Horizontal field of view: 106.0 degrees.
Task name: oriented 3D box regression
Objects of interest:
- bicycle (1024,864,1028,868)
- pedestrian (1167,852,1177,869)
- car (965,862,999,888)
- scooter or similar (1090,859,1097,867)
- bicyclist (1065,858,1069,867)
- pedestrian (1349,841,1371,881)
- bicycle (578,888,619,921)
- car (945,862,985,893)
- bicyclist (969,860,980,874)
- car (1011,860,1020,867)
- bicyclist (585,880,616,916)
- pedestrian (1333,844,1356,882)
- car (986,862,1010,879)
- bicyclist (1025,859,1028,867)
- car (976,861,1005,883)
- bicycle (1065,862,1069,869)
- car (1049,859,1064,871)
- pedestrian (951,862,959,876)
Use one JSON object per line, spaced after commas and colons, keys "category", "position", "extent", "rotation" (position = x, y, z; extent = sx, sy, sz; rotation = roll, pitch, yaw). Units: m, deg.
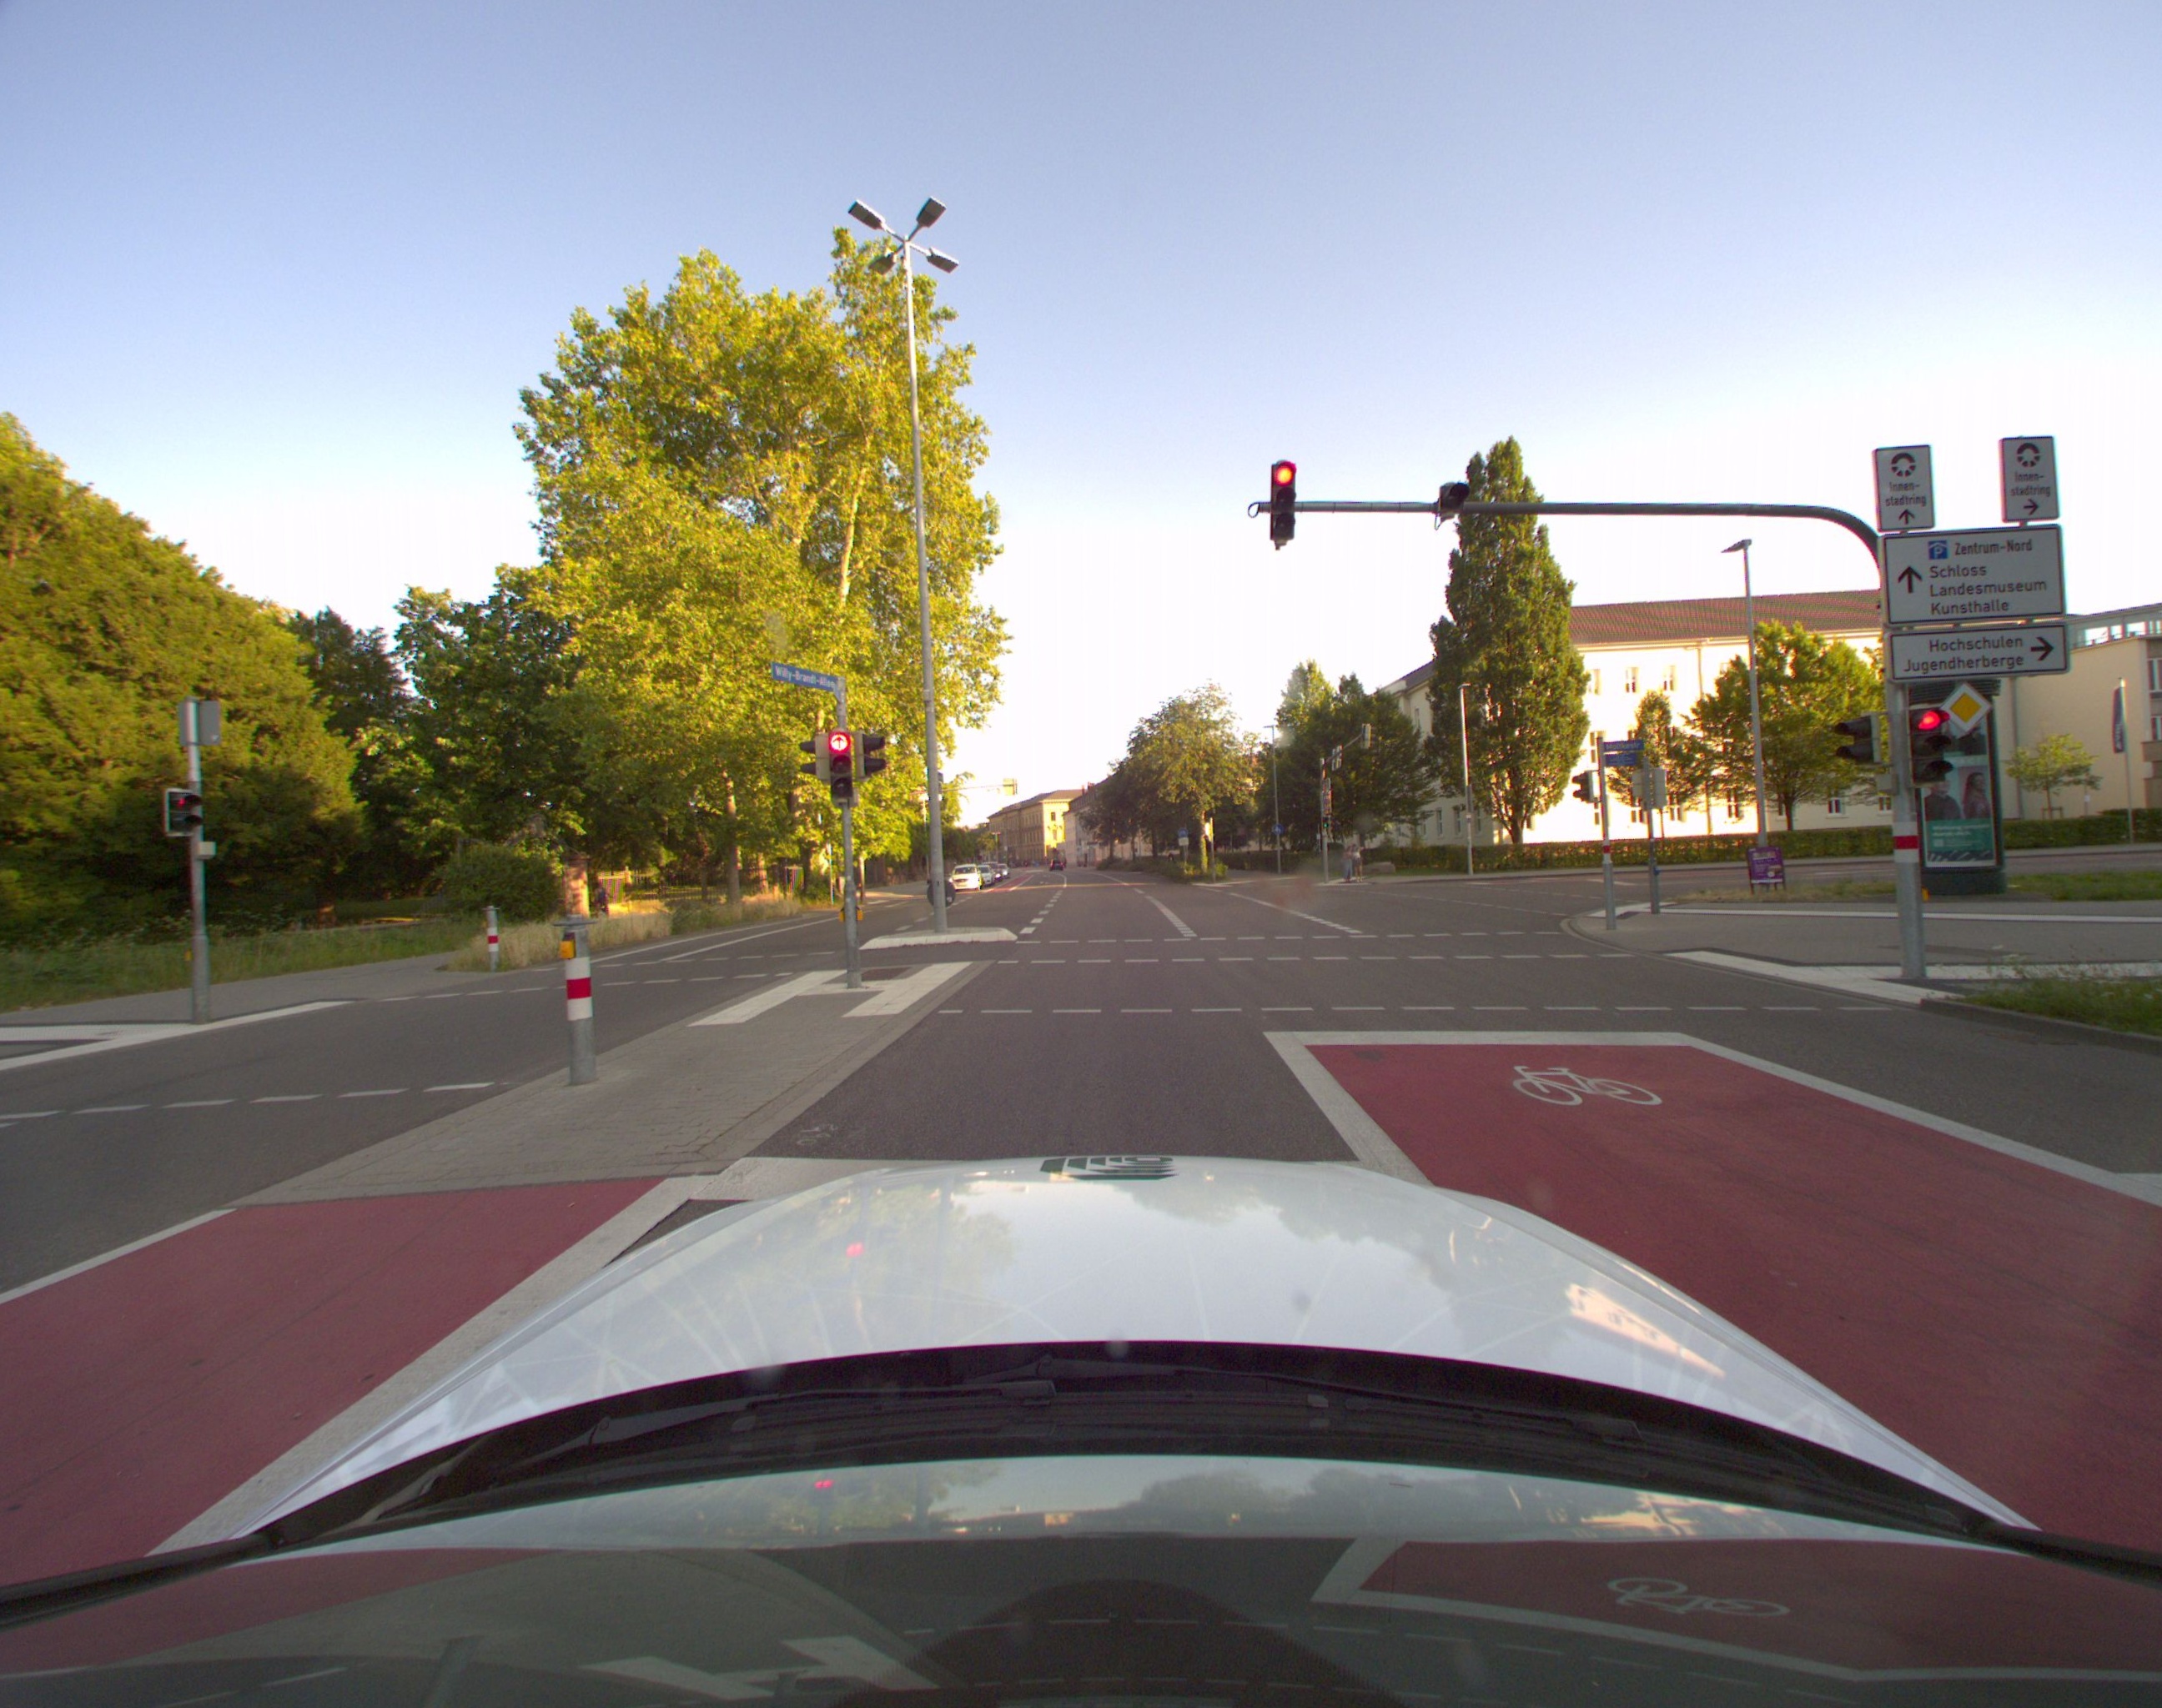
{"category": "bicycle", "position": [-13.081, 2.791, 193.889], "extent": [0.651, 1.015, 2.191], "rotation": [0, -1, -8]}
{"category": "pedestrian", "position": [9.343, 0.635, 83.927], "extent": [0.769, 1.739, 0.805], "rotation": [-3, 0, -8]}
{"category": "car", "position": [-6.988, 1.471, 57.973], "extent": [1.912, 1.583, 4.670], "rotation": [-5, 0, -2]}
{"category": "scooter or similar", "position": [2.260, 1.648, 145.505], "extent": [0.630, 1.337, 2.390], "rotation": [-2, -1, -12]}
{"category": "bicyclist", "position": [-2.318, 1.462, 133.185], "extent": [0.650, 1.475, 0.940], "rotation": [0, -1, 0]}
{"category": "pedestrian", "position": [12.587, 0.330, 36.722], "extent": [0.678, 1.754, 0.689], "rotation": [-3, 0, 1]}
{"category": "bicycle", "position": [-19.900, 2.084, 33.580], "extent": [1.954, 1.256, 0.797], "rotation": [-3, -1, 39]}
{"category": "car", "position": [-7.162, 1.431, 50.606], "extent": [1.912, 1.695, 4.422], "rotation": [-5, 0, -2]}
{"category": "bicyclist", "position": [-10.768, 1.298, 82.211], "extent": [0.852, 1.431, 0.944], "rotation": [-3, 0, 2]}
{"category": "car", "position": [-15.479, 2.205, 192.256], "extent": [1.915, 1.417, 4.756], "rotation": [-5, 0, -8]}
{"category": "bicyclist", "position": [-19.741, 1.804, 33.469], "extent": [0.880, 1.427, 0.797], "rotation": [-3, -1, 39]}
{"category": "pedestrian", "position": [11.881, 0.399, 36.754], "extent": [0.678, 1.622, 0.845], "rotation": [-3, 0, 1]}
{"category": "car", "position": [-7.878, 1.570, 77.607], "extent": [1.912, 1.417, 4.766], "rotation": [-5, 0, -2]}
{"category": "bicyclist", "position": [-13.073, 2.160, 193.813], "extent": [0.651, 1.698, 0.954], "rotation": [0, -1, -9]}
{"category": "car", "position": [-7.427, 1.456, 67.193], "extent": [1.912, 1.624, 4.635], "rotation": [-5, 0, -2]}
{"category": "bicycle", "position": [-2.311, 1.872, 133.178], "extent": [0.650, 1.015, 2.198], "rotation": [0, -1, 0]}
{"category": "car", "position": [-3.295, 1.470, 109.146], "extent": [1.862, 1.510, 3.999], "rotation": [-2, -1, 0]}
{"category": "pedestrian", "position": [-14.496, 1.719, 93.813], "extent": [0.678, 1.622, 0.689], "rotation": [-3, 0, 1]}
